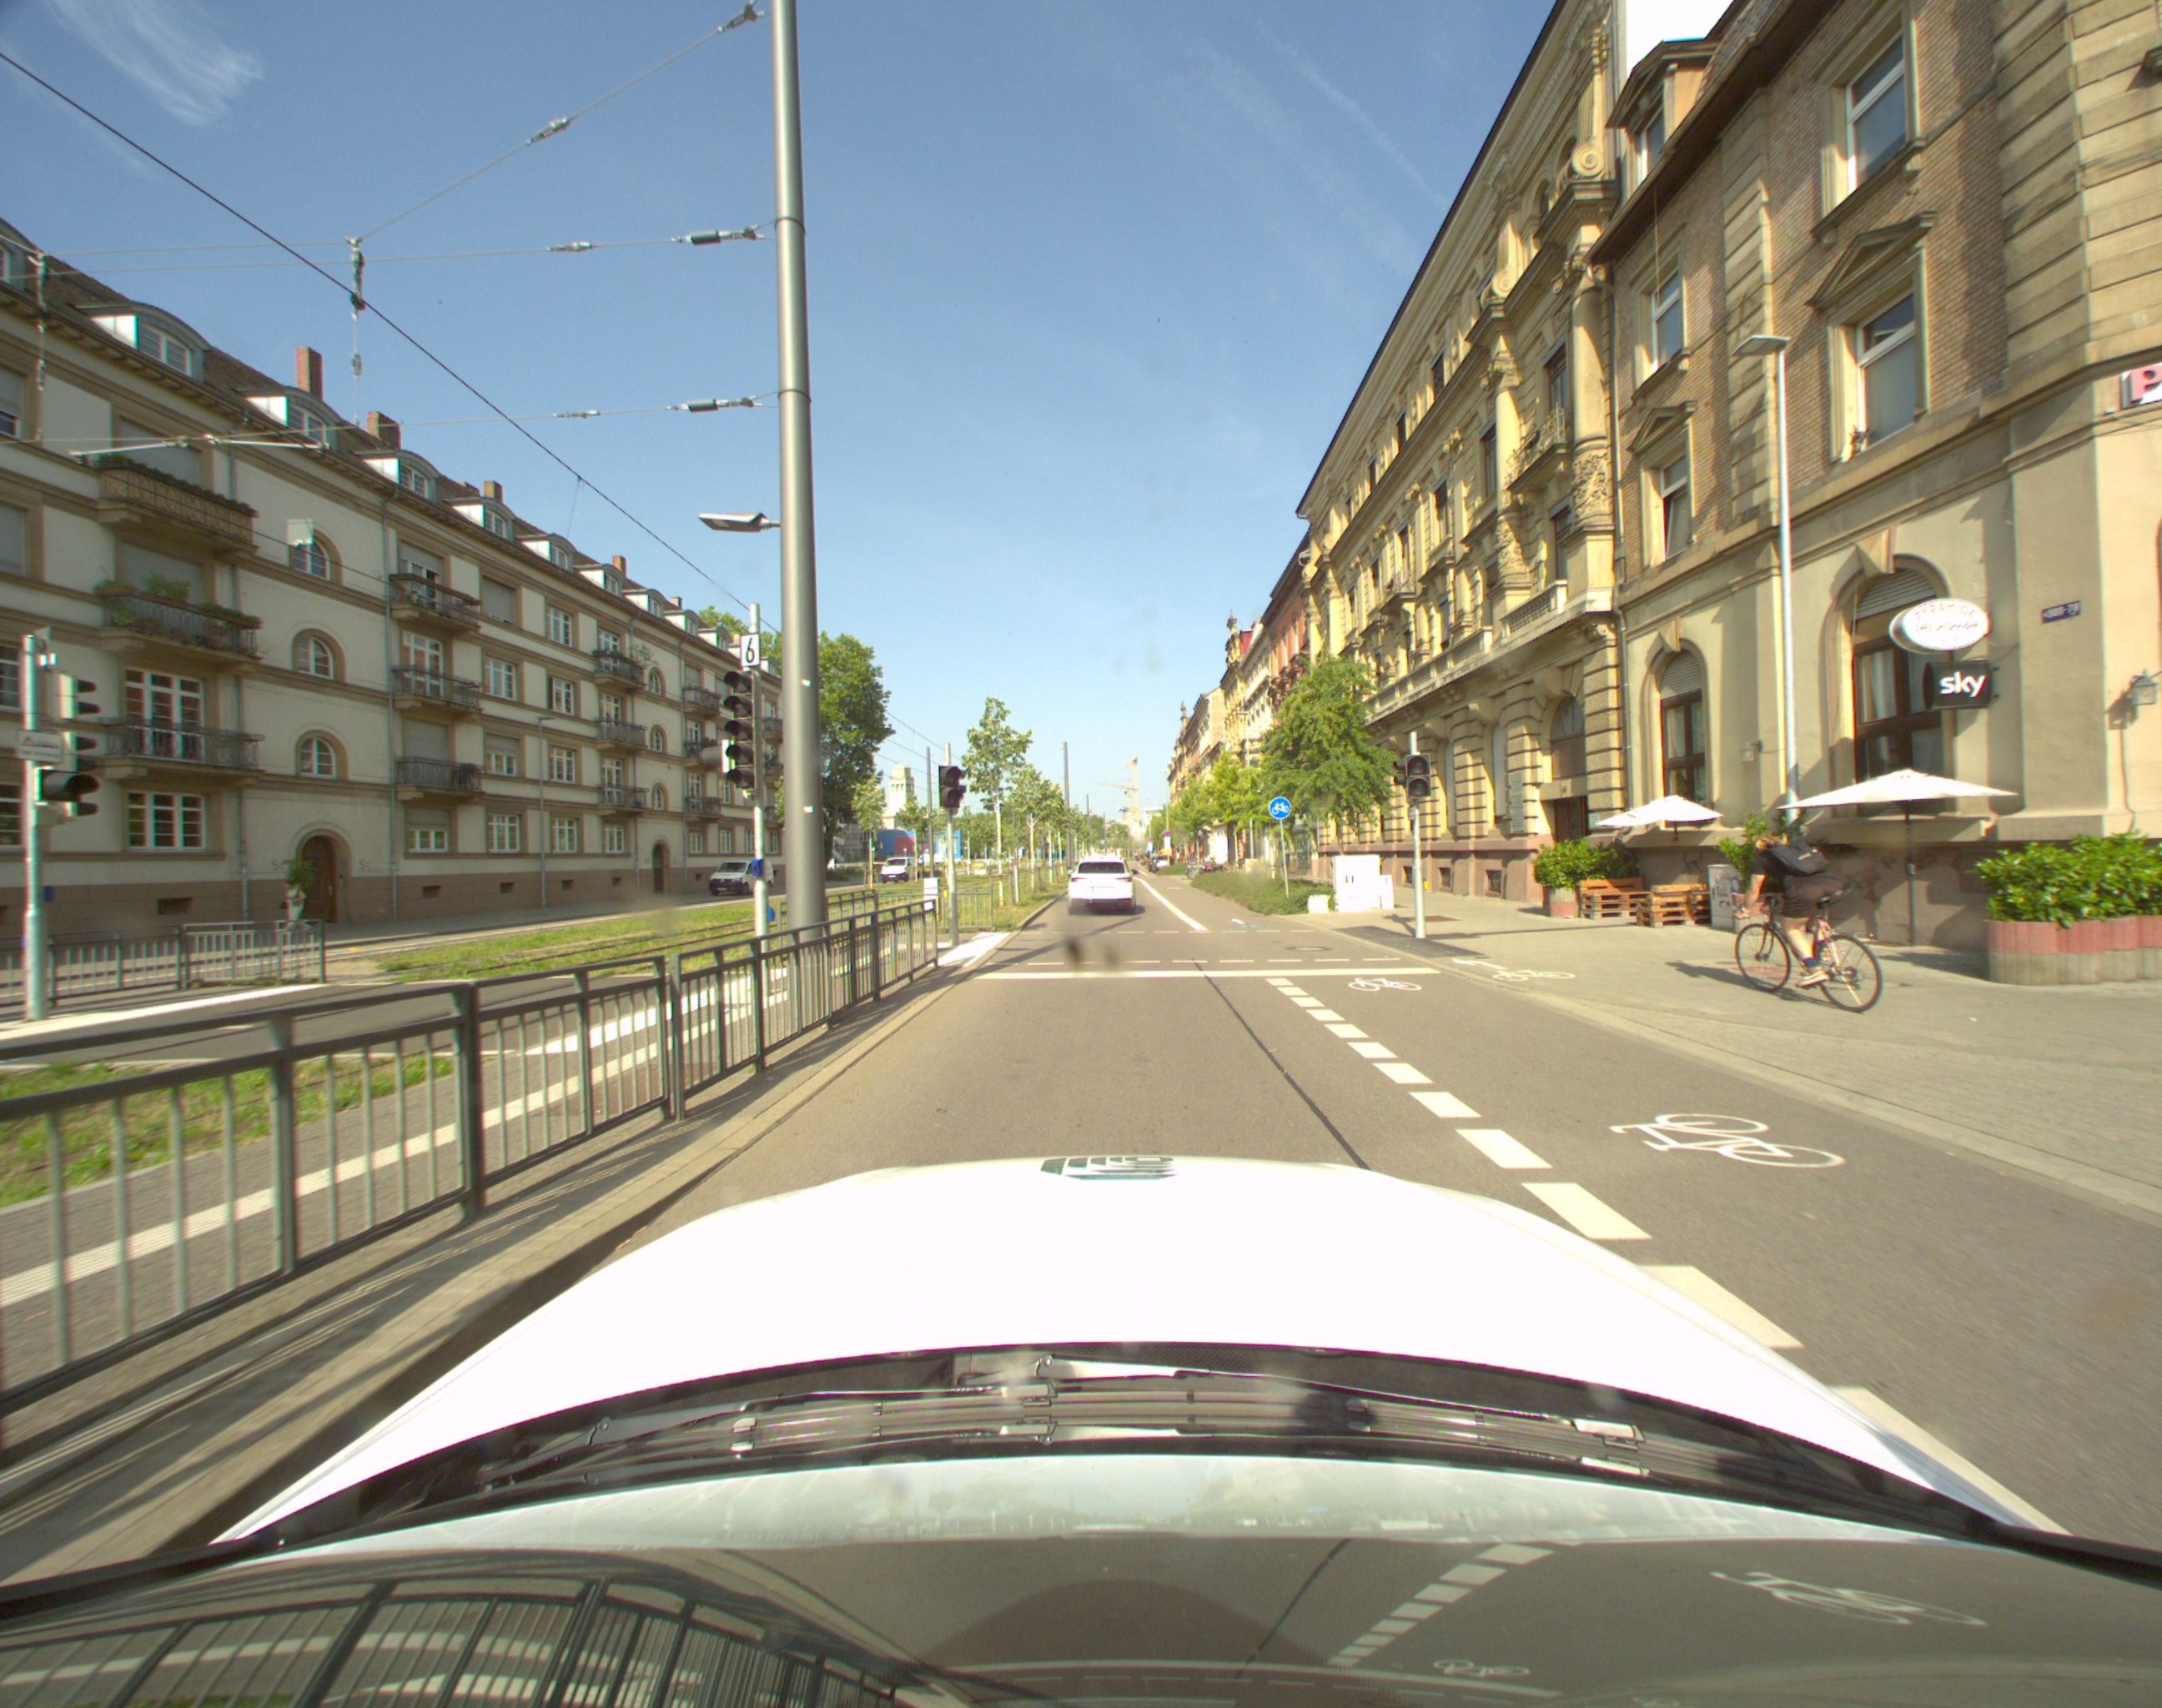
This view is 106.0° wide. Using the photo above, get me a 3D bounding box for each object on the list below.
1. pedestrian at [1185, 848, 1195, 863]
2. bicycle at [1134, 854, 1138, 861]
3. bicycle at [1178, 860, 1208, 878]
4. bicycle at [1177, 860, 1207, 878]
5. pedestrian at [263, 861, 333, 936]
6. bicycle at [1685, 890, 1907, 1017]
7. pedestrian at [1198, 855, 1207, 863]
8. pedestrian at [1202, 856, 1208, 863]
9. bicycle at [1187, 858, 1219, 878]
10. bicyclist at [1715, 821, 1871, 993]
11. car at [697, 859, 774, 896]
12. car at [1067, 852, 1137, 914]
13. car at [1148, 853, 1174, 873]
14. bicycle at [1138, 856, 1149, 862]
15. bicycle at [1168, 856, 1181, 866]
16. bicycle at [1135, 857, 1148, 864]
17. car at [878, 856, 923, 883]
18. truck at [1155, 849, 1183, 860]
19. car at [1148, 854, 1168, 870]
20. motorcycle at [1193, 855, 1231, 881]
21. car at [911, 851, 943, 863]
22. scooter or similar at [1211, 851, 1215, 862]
[{"bbox_3d":[12.629,0.181,94.387,0.821,1.696,0.792,-4,0,-2],"label":"pedestrian"},{"bbox_3d":[12.505,0.783,184.517,0.778,1.496,2.803,-2,0,4],"label":"bicycle"},{"bbox_3d":[6.998,0.938,51.099,1.778,1.054,0.373,-3,0,0],"label":"bicycle"},{"bbox_3d":[7.019,0.941,51.517,1.778,1.054,0.373,-3,0,0],"label":"bicycle"},{"bbox_3d":[-22.348,1.238,23.265,0.839,2.068,1.158,-1,0,3],"label":"pedestrian"},{"bbox_3d":[6.676,0.876,7.739,0.503,0.953,1.785,-3,0,1],"label":"bicycle"},{"bbox_3d":[14.240,0.637,95.499,0.875,0.876,0.711,-4,0,-1],"label":"pedestrian"},{"bbox_3d":[14.319,0.628,93.800,0.569,0.855,0.457,-4,0,-4],"label":"pedestrian"},{"bbox_3d":[7.446,0.867,49.889,1.803,1.096,0.671,-3,0,-4],"label":"bicycle"},{"bbox_3d":[6.653,0.466,7.662,0.582,1.482,0.931,-3,0,0],"label":"bicyclist"},{"bbox_3d":[-19.437,1.285,46.094,1.985,1.918,5.157,0,0,3],"label":"car"},{"bbox_3d":[0.642,0.761,23.380,1.810,1.590,4.409,-1,0,2],"label":"car"},{"bbox_3d":[7.097,0.775,72.667,1.764,1.588,4.246,-3,0,-1],"label":"car"},{"bbox_3d":[11.267,0.926,146.140,1.926,0.986,0.471,-4,0,3],"label":"bicycle"},{"bbox_3d":[10.687,0.780,93.021,0.449,1.082,1.889,-4,-3,44],"label":"bicycle"},{"bbox_3d":[10.793,1.151,144.934,2.229,1.104,0.589,-4,0,3],"label":"bicycle"},{"bbox_3d":[-13.710,1.122,62.072,1.985,1.895,5.050,-2,0,3],"label":"car"},{"bbox_3d":[18.700,0.113,172.497,5.841,2.318,2.224,-2,0,5],"label":"truck"},{"bbox_3d":[7.575,0.752,80.401,1.729,1.396,4.719,-3,0,4],"label":"car"},{"bbox_3d":[7.355,0.771,45.733,2.048,1.287,0.698,-4,1,-30],"label":"motorcycle"},{"bbox_3d":[-34.274,0.631,181.312,6.894,2.638,2.498,1,-1,-19],"label":"car"},{"bbox_3d":[13.939,0.285,85.969,0.287,1.134,1.091,-2,0,8],"label":"scooter or similar"}]
